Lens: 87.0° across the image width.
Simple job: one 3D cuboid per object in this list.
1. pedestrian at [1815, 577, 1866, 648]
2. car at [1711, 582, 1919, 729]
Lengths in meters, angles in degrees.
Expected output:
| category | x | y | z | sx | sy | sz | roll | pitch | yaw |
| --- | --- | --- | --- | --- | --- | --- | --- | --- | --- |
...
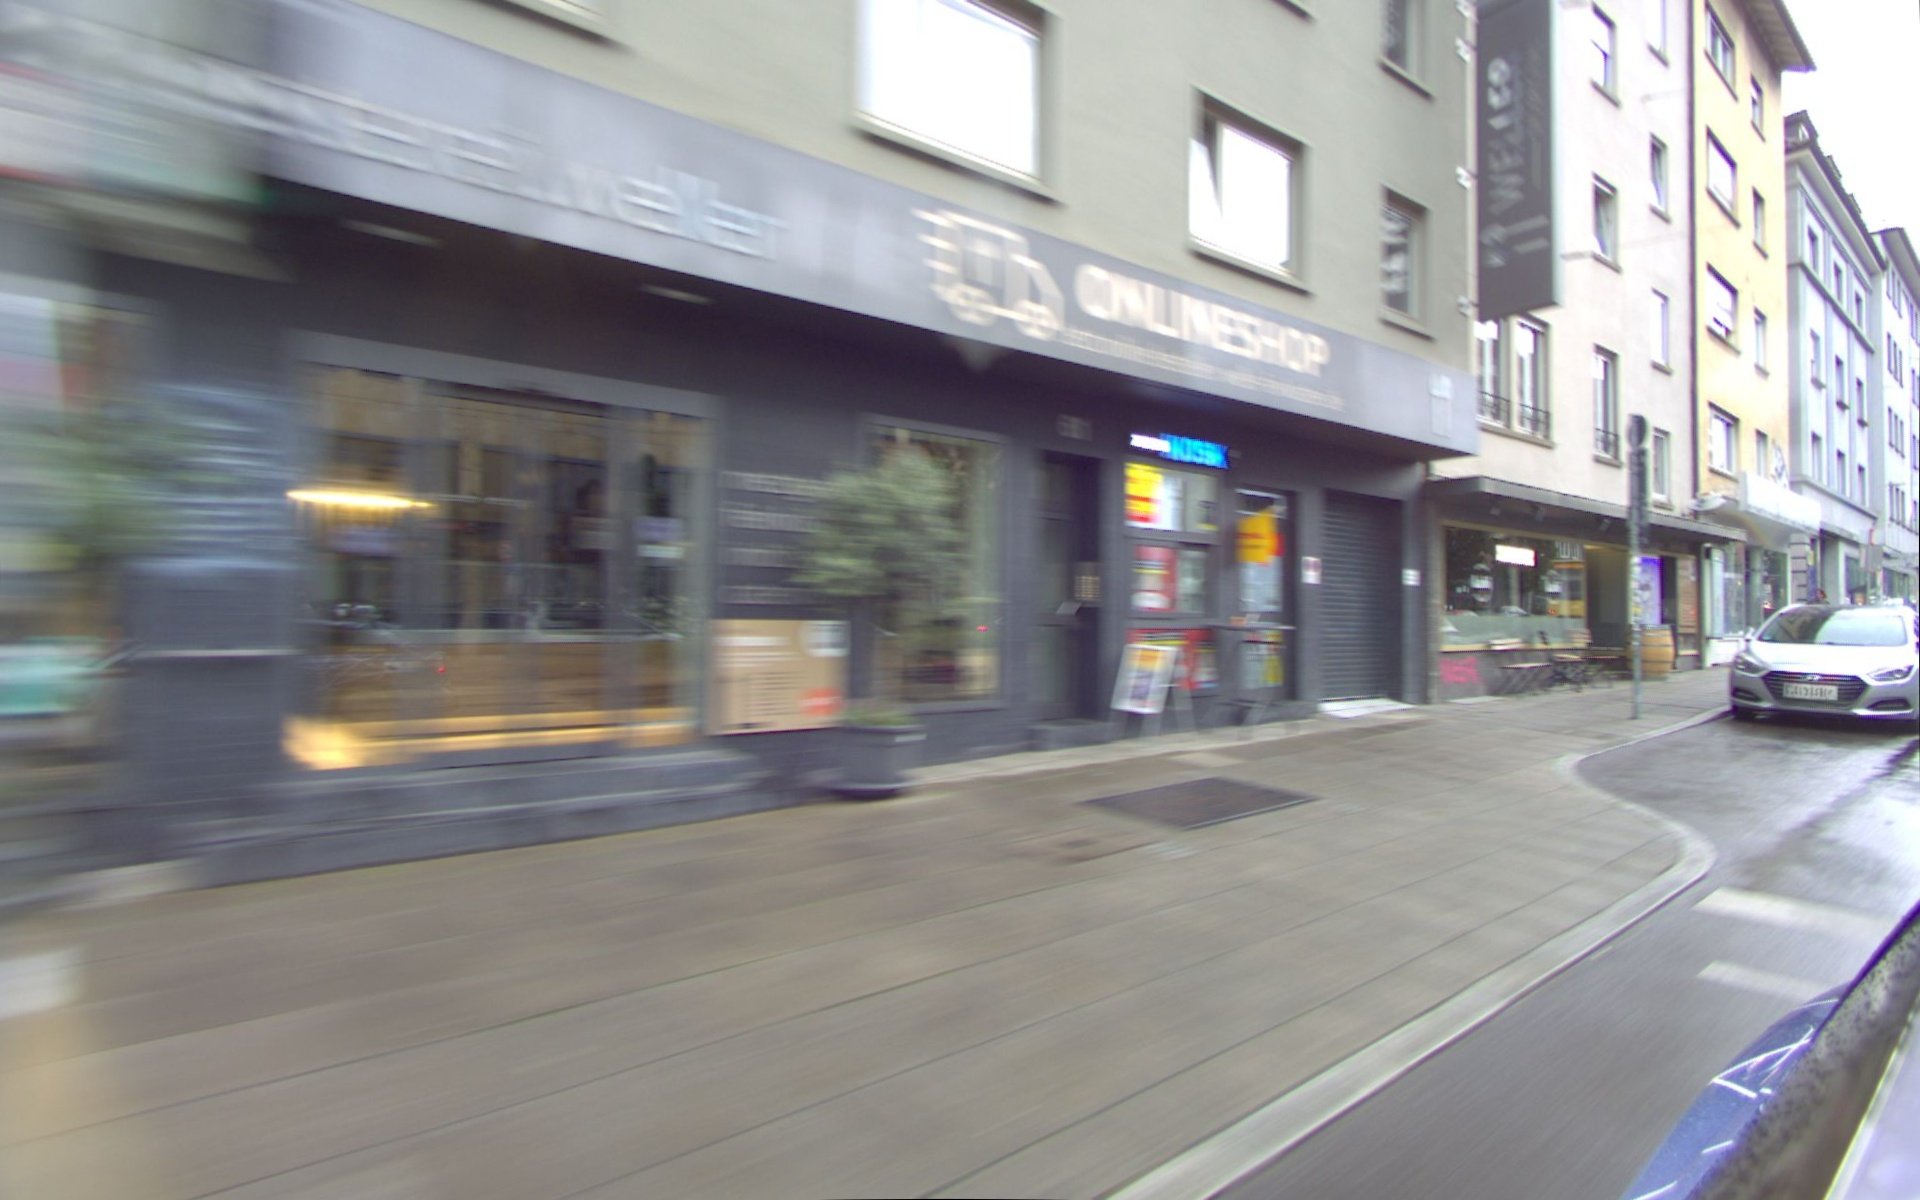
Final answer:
| category | x | y | z | sx | sy | sz | roll | pitch | yaw |
| --- | --- | --- | --- | --- | --- | --- | --- | --- | --- |
| pedestrian | 21.141 | 0.306 | 24.304 | 0.708 | 1.681 | 0.792 | 0 | -2 | -41 |
| car | 11.651 | 0.597 | 13.277 | 4.541 | 1.614 | 2.027 | 0 | 0 | -42 |
